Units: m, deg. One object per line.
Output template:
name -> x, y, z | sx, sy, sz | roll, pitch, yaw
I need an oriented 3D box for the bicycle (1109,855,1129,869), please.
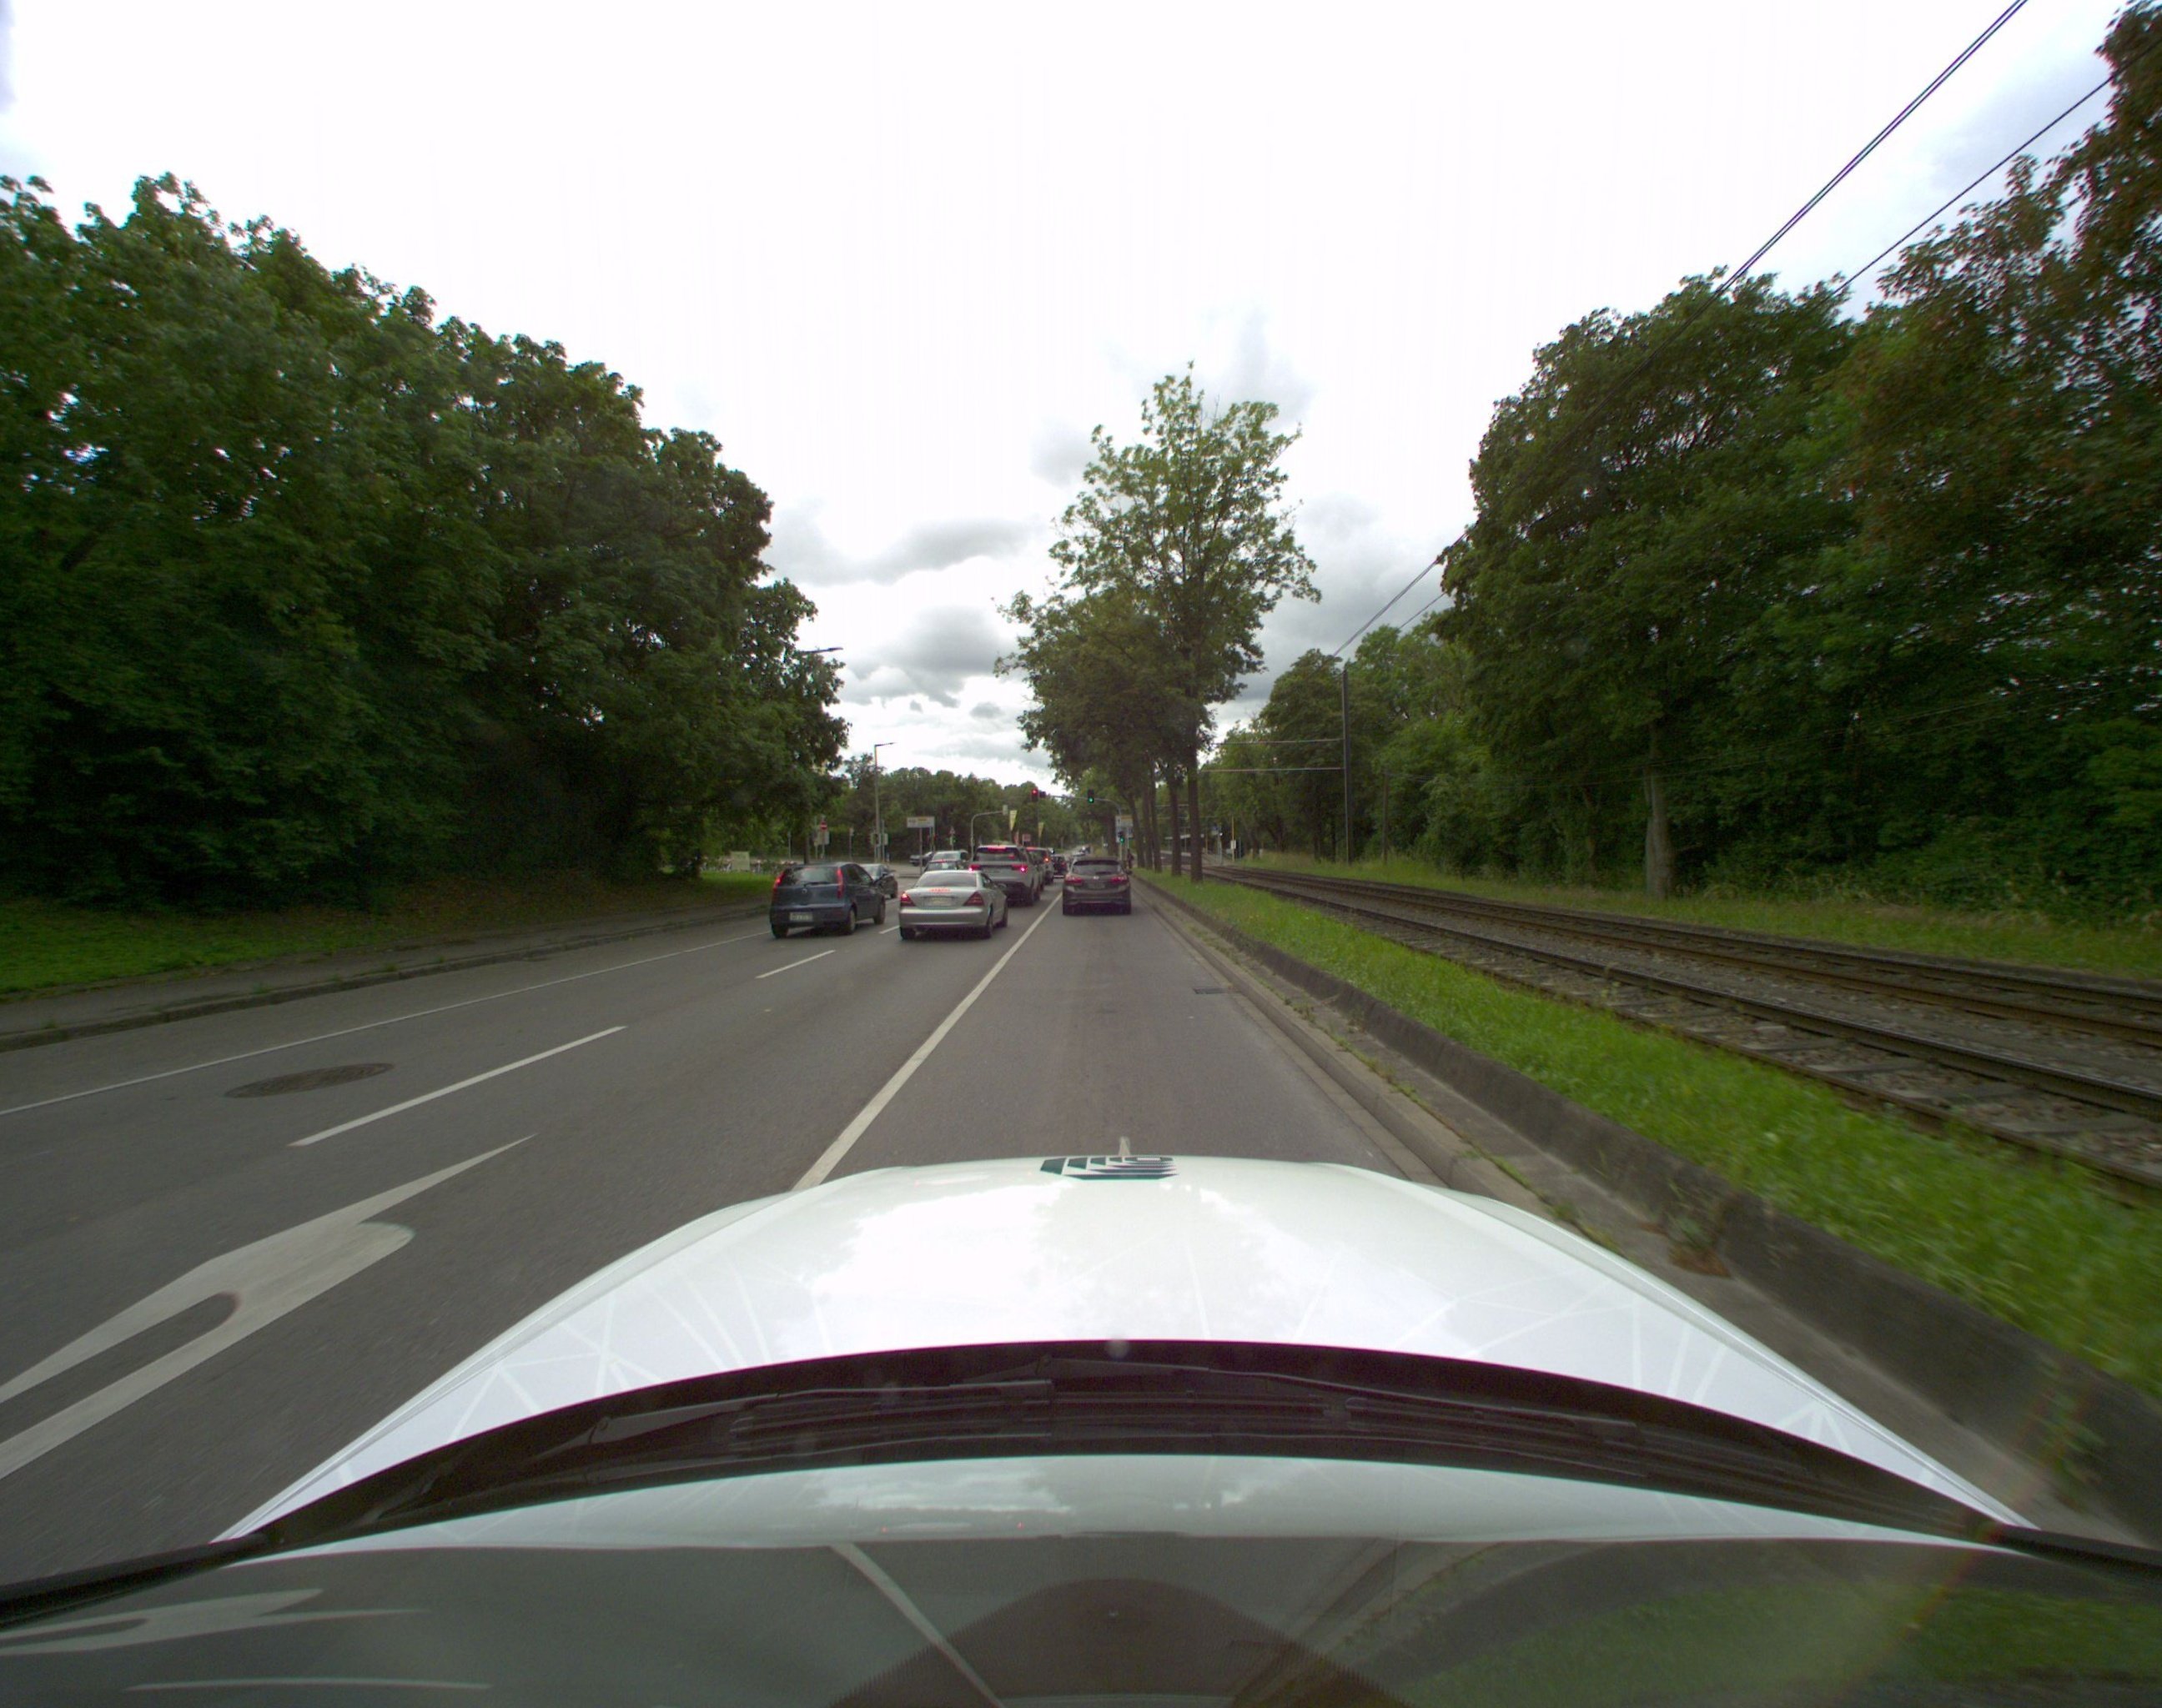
bicycle -> 3.323, 0.716, 71.496 | 1.671, 1.090, 0.601 | -4, 0, -3

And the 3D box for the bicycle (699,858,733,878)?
bicycle -> -23.249, 0.894, 51.872 | 0.539, 1.252, 1.947 | 0, -1, 34

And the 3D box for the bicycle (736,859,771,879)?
bicycle -> -20.338, 0.926, 50.611 | 0.539, 1.252, 1.947 | 0, -1, 38

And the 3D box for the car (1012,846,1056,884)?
car -> -2.365, 0.529, 42.391 | 1.900, 1.843, 5.282 | -1, 0, 1

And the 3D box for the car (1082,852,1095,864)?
car -> 1.013, 0.507, 104.839 | 1.497, 1.528, 3.674 | 0, 0, 3

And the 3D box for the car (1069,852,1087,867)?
car -> -0.319, 0.580, 87.670 | 1.703, 1.475, 3.674 | 0, 0, 3

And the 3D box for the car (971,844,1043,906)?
car -> -2.273, 0.620, 26.077 | 1.797, 1.795, 4.504 | 0, 0, 1

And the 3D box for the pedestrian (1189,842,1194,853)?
pedestrian -> 15.471, -0.870, 113.966 | 0.715, 1.511, 0.724 | 1, -1, 3

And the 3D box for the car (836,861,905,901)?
car -> -8.009, 0.981, 31.322 | 1.624, 1.395, 3.833 | 0, 0, 0

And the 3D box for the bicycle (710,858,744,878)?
bicycle -> -22.385, 0.903, 51.512 | 0.539, 1.252, 1.947 | 0, -1, 34

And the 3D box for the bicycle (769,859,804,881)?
bicycle -> -17.648, 0.952, 48.857 | 0.539, 1.252, 1.947 | 0, -1, 38

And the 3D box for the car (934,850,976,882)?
car -> -7.605, 0.707, 49.685 | 1.785, 1.831, 4.409 | -2, 0, 0

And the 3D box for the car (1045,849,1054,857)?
car -> -6.976, -0.296, 180.902 | 1.896, 1.678, 5.078 | -1, 0, -1

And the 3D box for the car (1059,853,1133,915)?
car -> 0.476, 0.733, 22.165 | 1.830, 1.528, 3.931 | 0, 0, 3

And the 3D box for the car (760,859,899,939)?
car -> -5.313, 0.887, 17.753 | 1.585, 1.468, 3.931 | -2, 0, 3

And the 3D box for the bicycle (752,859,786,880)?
bicycle -> -18.938, 0.938, 49.483 | 0.539, 1.252, 1.947 | 0, -1, 38

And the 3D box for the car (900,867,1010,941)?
car -> -2.420, 0.919, 16.441 | 1.549, 1.267, 3.823 | -1, 0, 1

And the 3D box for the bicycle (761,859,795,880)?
bicycle -> -18.278, 0.945, 49.156 | 0.539, 1.252, 1.947 | 0, 0, 38

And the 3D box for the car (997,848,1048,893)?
car -> -2.384, 0.668, 34.137 | 1.745, 1.718, 4.335 | -1, 0, 1

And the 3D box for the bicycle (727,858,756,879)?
bicycle -> -21.239, 0.916, 51.004 | 0.540, 1.252, 1.944 | 1, 0, 18

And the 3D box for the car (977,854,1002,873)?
car -> -7.809, 0.817, 69.800 | 1.734, 1.539, 3.910 | 0, 0, 0

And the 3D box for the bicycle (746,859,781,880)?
bicycle -> -19.544, 0.934, 50.151 | 0.539, 1.252, 1.947 | 0, -1, 38

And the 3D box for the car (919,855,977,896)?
car -> -5.270, 0.821, 32.705 | 1.551, 1.466, 3.808 | -3, 0, 1

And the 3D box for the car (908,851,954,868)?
car -> -16.070, 0.548, 87.372 | 4.466, 1.811, 1.927 | 0, 0, -40

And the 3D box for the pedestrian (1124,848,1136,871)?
pedestrian -> 3.753, 0.400, 62.606 | 0.748, 1.737, 0.841 | -3, -1, 5

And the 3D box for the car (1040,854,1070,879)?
car -> -1.630, 0.774, 52.494 | 1.698, 1.480, 3.668 | -1, 0, 1
